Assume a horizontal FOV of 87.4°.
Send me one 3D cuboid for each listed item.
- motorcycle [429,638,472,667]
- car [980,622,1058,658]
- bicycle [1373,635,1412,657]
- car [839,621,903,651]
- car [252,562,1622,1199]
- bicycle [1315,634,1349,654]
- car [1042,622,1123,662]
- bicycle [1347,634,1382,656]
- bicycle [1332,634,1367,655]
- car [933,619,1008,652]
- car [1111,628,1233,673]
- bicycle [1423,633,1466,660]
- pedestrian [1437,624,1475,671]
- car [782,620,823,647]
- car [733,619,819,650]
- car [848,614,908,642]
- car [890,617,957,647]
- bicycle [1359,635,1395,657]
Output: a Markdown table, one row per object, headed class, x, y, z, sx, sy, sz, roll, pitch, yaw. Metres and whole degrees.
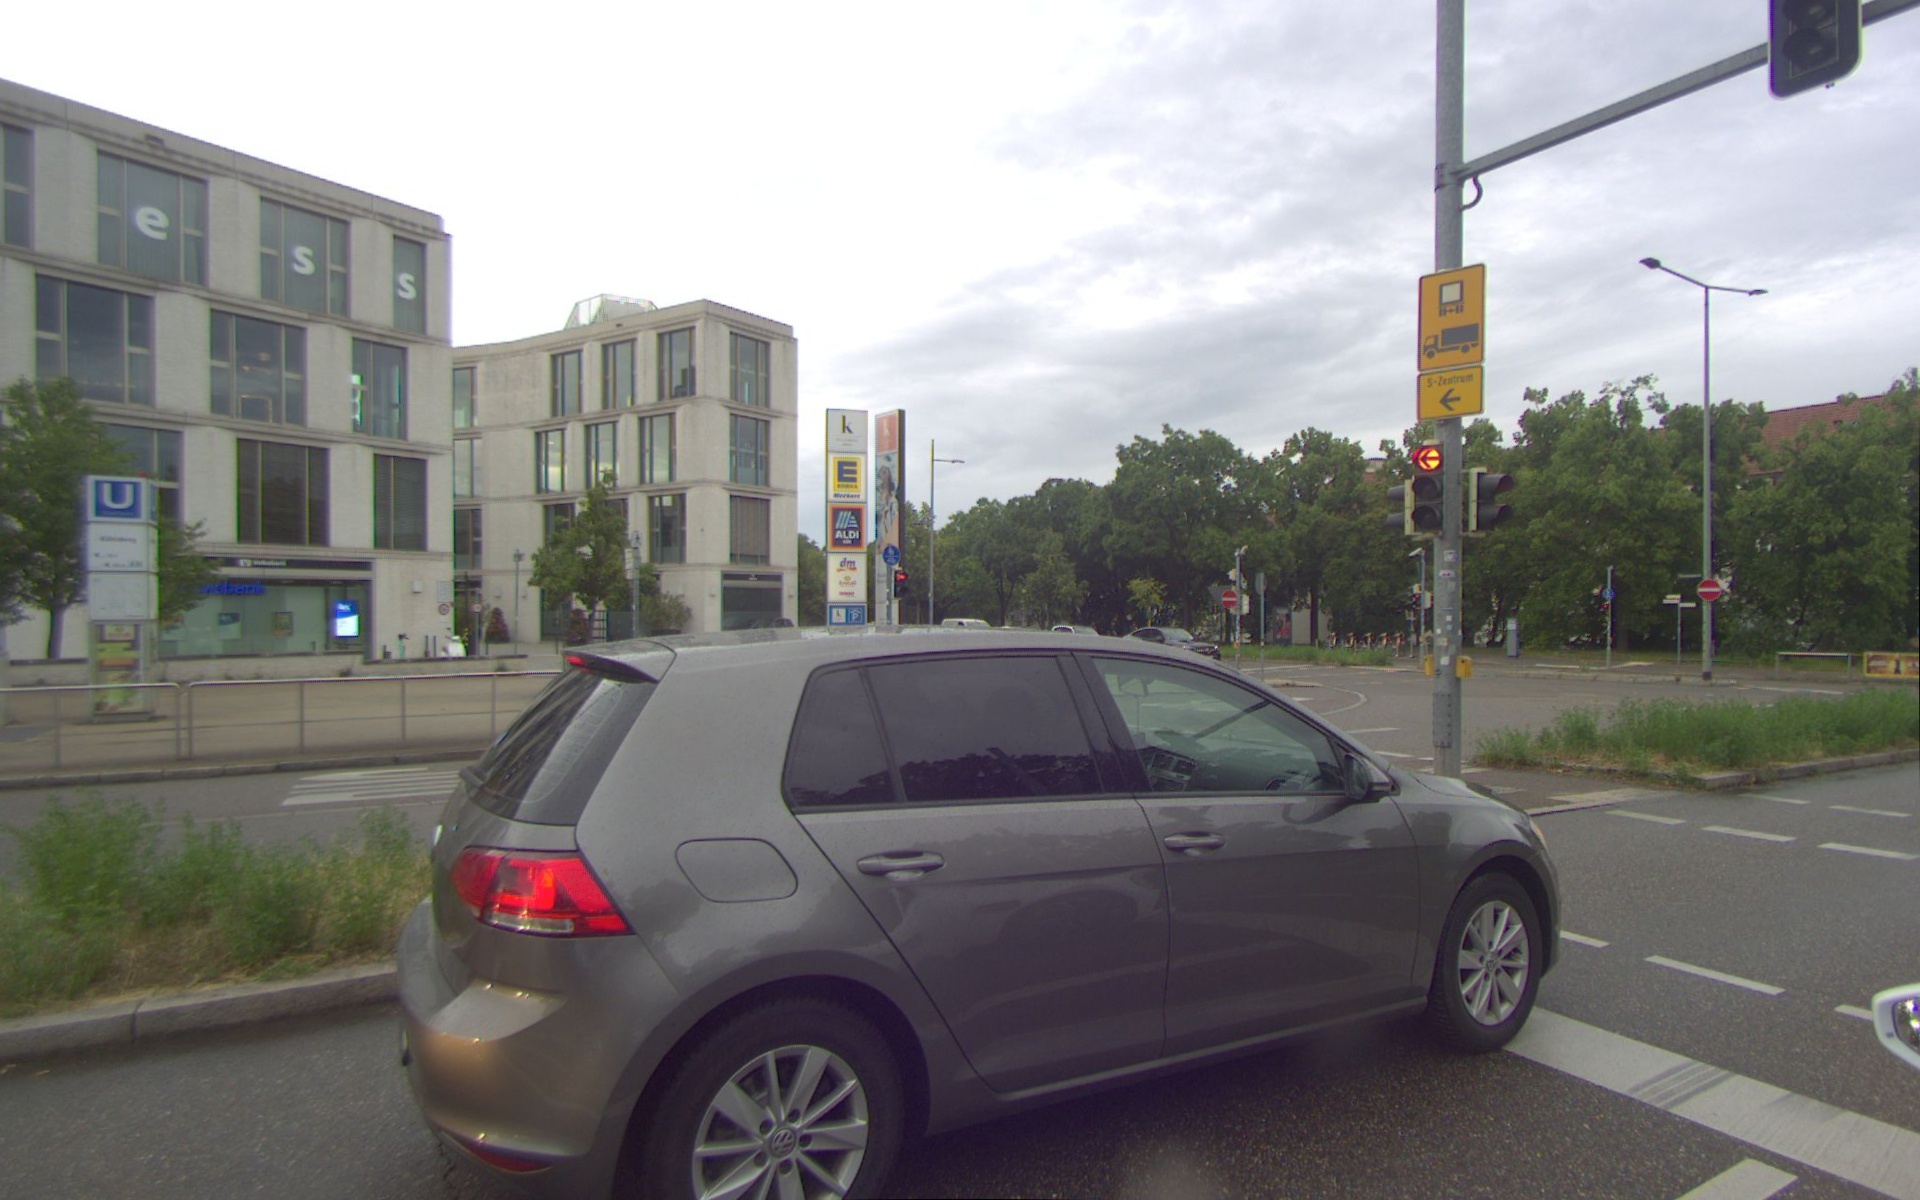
| class | x | y | z | sx | sy | sz | roll | pitch | yaw |
| --- | --- | --- | --- | --- | --- | --- | --- | --- | --- |
| motorcycle | -14.183 | 1.458 | 27.962 | 1.081 | 0.750 | 0.522 | 2 | 0 | 29 |
| car | 2.952 | 1.994 | 50.894 | 1.976 | 1.615 | 4.185 | 2 | 0 | -29 |
| bicycle | 22.245 | 2.358 | 51.646 | 1.959 | 1.085 | 0.798 | 2 | 0 | -30 |
| car | -5.326 | 2.112 | 59.696 | 1.976 | 1.615 | 4.855 | 2 | 0 | -29 |
| car | 0.246 | 0.749 | 3.560 | 4.325 | 1.501 | 1.807 | 2 | -1 | -30 |
| bicycle | 20.270 | 2.400 | 54.761 | 1.959 | 1.085 | 0.649 | 2 | 0 | -30 |
| car | 5.558 | 1.908 | 46.024 | 1.976 | 1.615 | 3.536 | 2 | 0 | -30 |
| bicycle | 21.373 | 2.375 | 53.030 | 1.959 | 1.085 | 0.649 | 2 | 0 | -30 |
| bicycle | 20.940 | 2.386 | 54.031 | 1.959 | 1.085 | 0.649 | 2 | 0 | -30 |
| car | 0.534 | 1.944 | 55.403 | 1.976 | 1.615 | 4.855 | 2 | 0 | -29 |
| car | 8.396 | 1.963 | 40.238 | 1.976 | 1.520 | 5.001 | 2 | 0 | -29 |
| bicycle | 23.761 | 2.276 | 49.258 | 1.959 | 1.266 | 0.986 | 2 | 0 | -30 |
| pedestrian | 19.166 | 1.822 | 38.828 | 0.935 | 1.750 | 0.918 | 2 | 0 | -30 |
| car | -12.649 | 2.665 | 80.512 | 1.976 | 2.040 | 3.969 | 1 | -1 | -29 |
| car | -9.185 | 1.717 | 50.317 | 1.968 | 1.483 | 3.985 | 0 | -2 | 37 |
| car | -5.455 | 1.817 | 66.111 | 1.977 | 1.615 | 4.852 | 2 | 0 | -31 |
| car | -2.254 | 1.886 | 60.391 | 1.976 | 1.615 | 4.855 | 2 | 0 | -29 |
| bicycle | 21.674 | 2.392 | 52.170 | 1.959 | 1.085 | 0.649 | 2 | 0 | -30 |
